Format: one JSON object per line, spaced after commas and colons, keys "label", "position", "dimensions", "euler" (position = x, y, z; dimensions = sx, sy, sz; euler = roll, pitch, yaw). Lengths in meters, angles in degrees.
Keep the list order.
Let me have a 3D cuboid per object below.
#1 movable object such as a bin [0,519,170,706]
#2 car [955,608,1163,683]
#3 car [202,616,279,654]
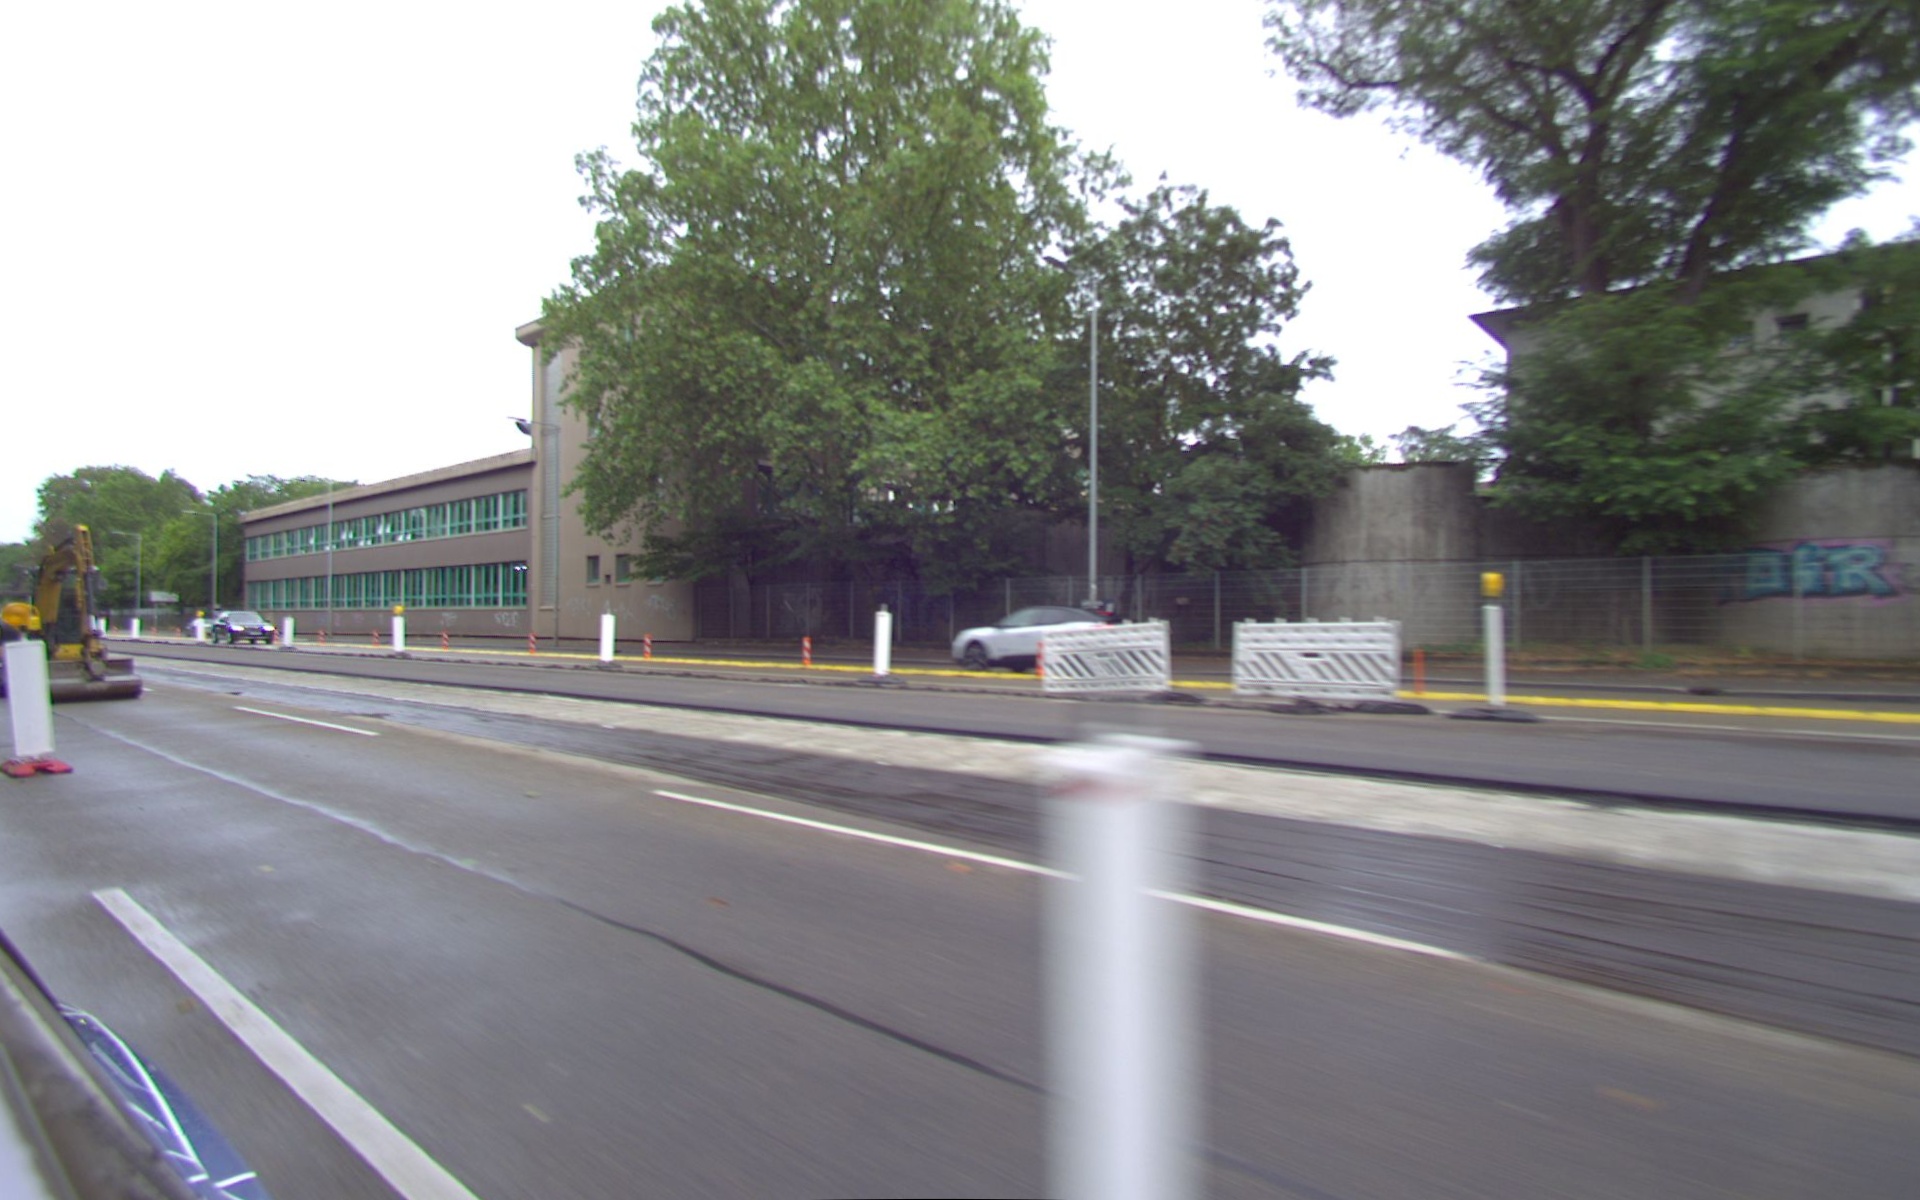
{"label": "movable object such as a bin", "position": [-17.220, 0.252, 19.426], "dimensions": [5.617, 3.125, 1.974], "euler": [-1, -1, 38]}
{"label": "car", "position": [2.036, 0.909, 21.606], "dimensions": [4.146, 1.445, 1.817], "euler": [-1, -1, 41]}
{"label": "car", "position": [-36.470, 1.824, 51.265], "dimensions": [4.981, 1.719, 1.973], "euler": [-3, -7, 41]}
